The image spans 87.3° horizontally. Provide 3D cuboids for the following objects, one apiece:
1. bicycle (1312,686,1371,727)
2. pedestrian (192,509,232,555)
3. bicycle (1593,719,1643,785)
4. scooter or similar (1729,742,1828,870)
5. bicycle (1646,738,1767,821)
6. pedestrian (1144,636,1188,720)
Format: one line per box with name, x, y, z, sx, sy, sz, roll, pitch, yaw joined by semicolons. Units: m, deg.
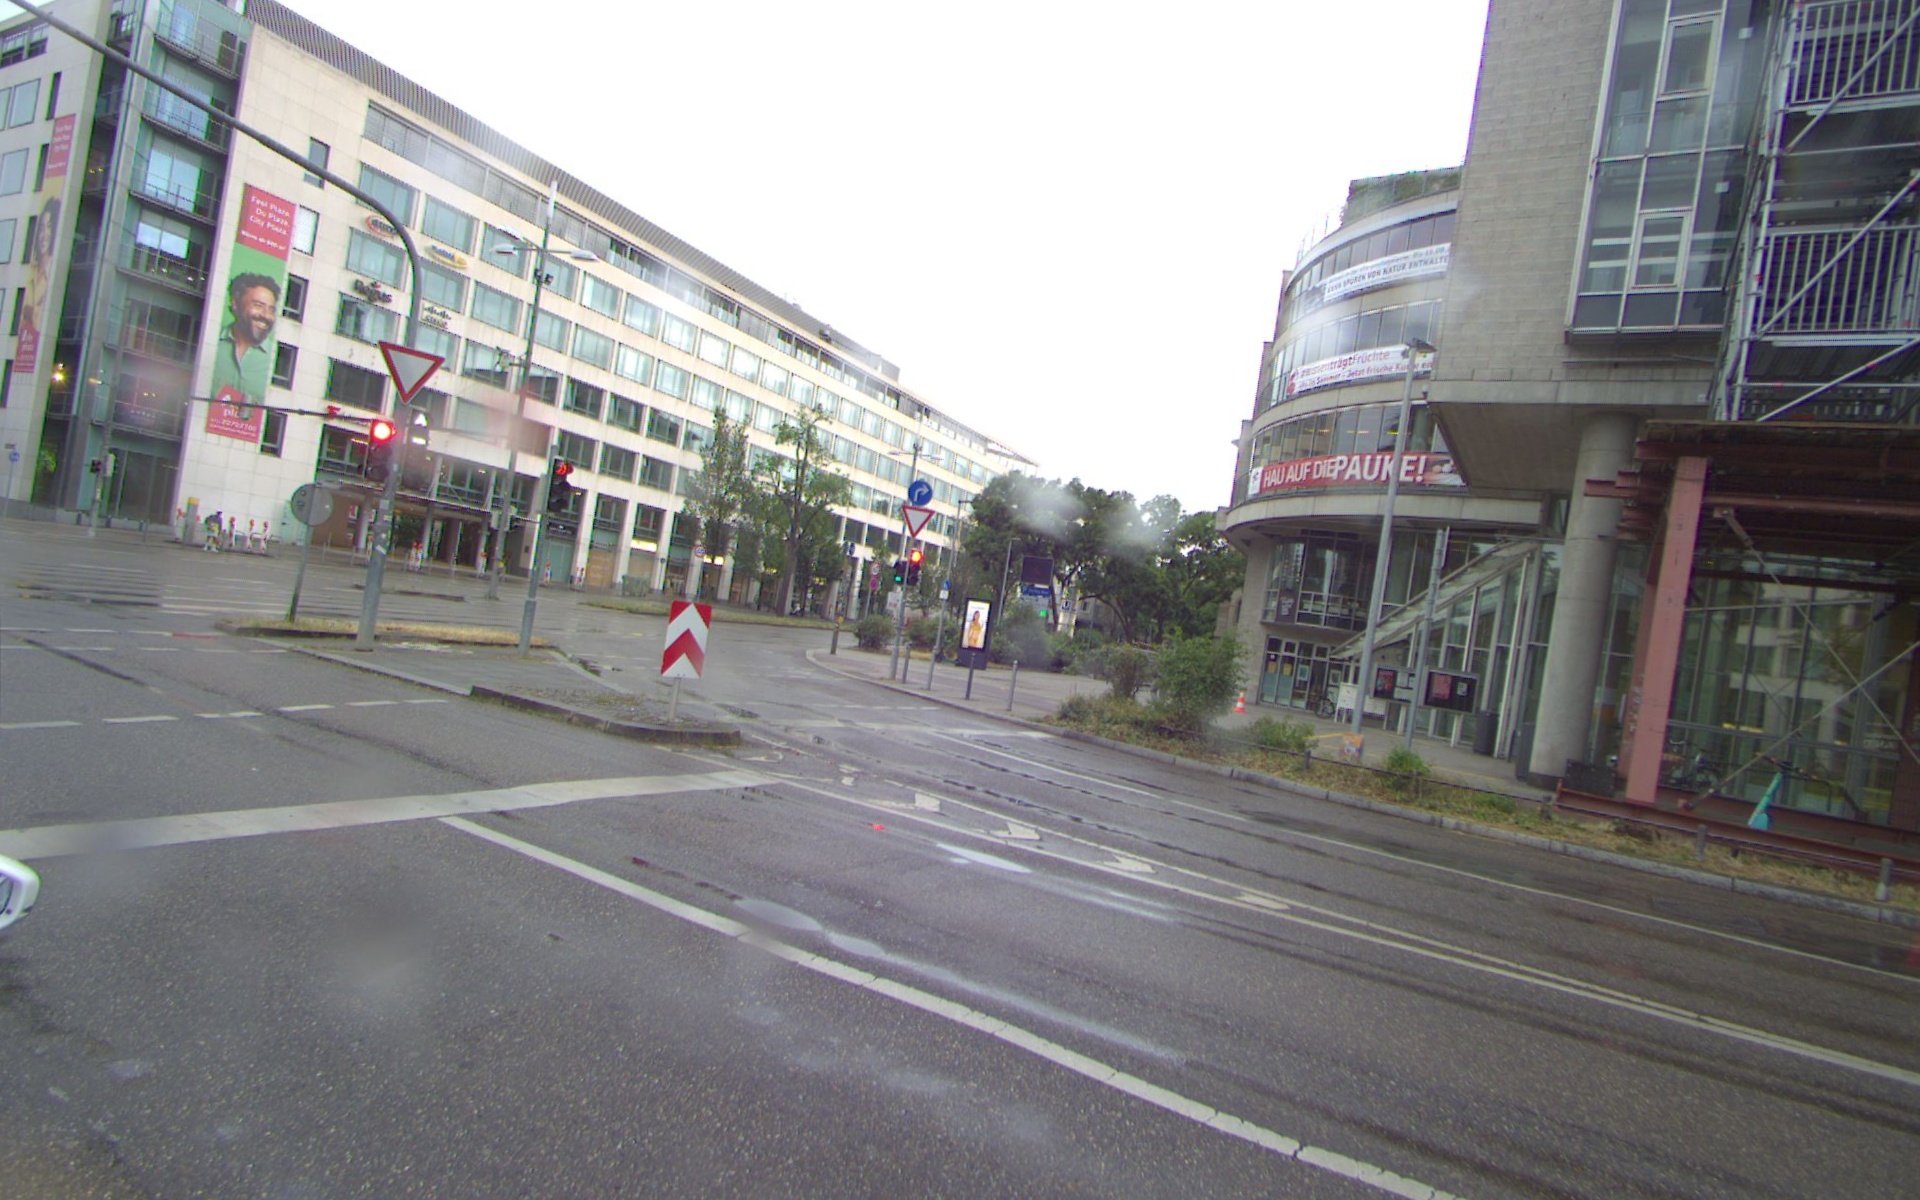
bicycle;13.467;3.749;35.515;1.753;1.208;0.586;6;-1;29
pedestrian;-32.255;-2.927;43.389;0.822;1.838;0.963;6;-1;31
bicycle;13.653;3.127;20.918;0.576;1.208;1.614;7;-2;27
scooter or similar;9.234;2.272;11.402;0.577;1.208;1.780;7;-1;34
bicycle;13.498;3.227;18.213;1.584;1.208;0.587;7;-1;6
pedestrian;4.684;1.767;22.855;0.776;1.796;0.781;7;-1;13
